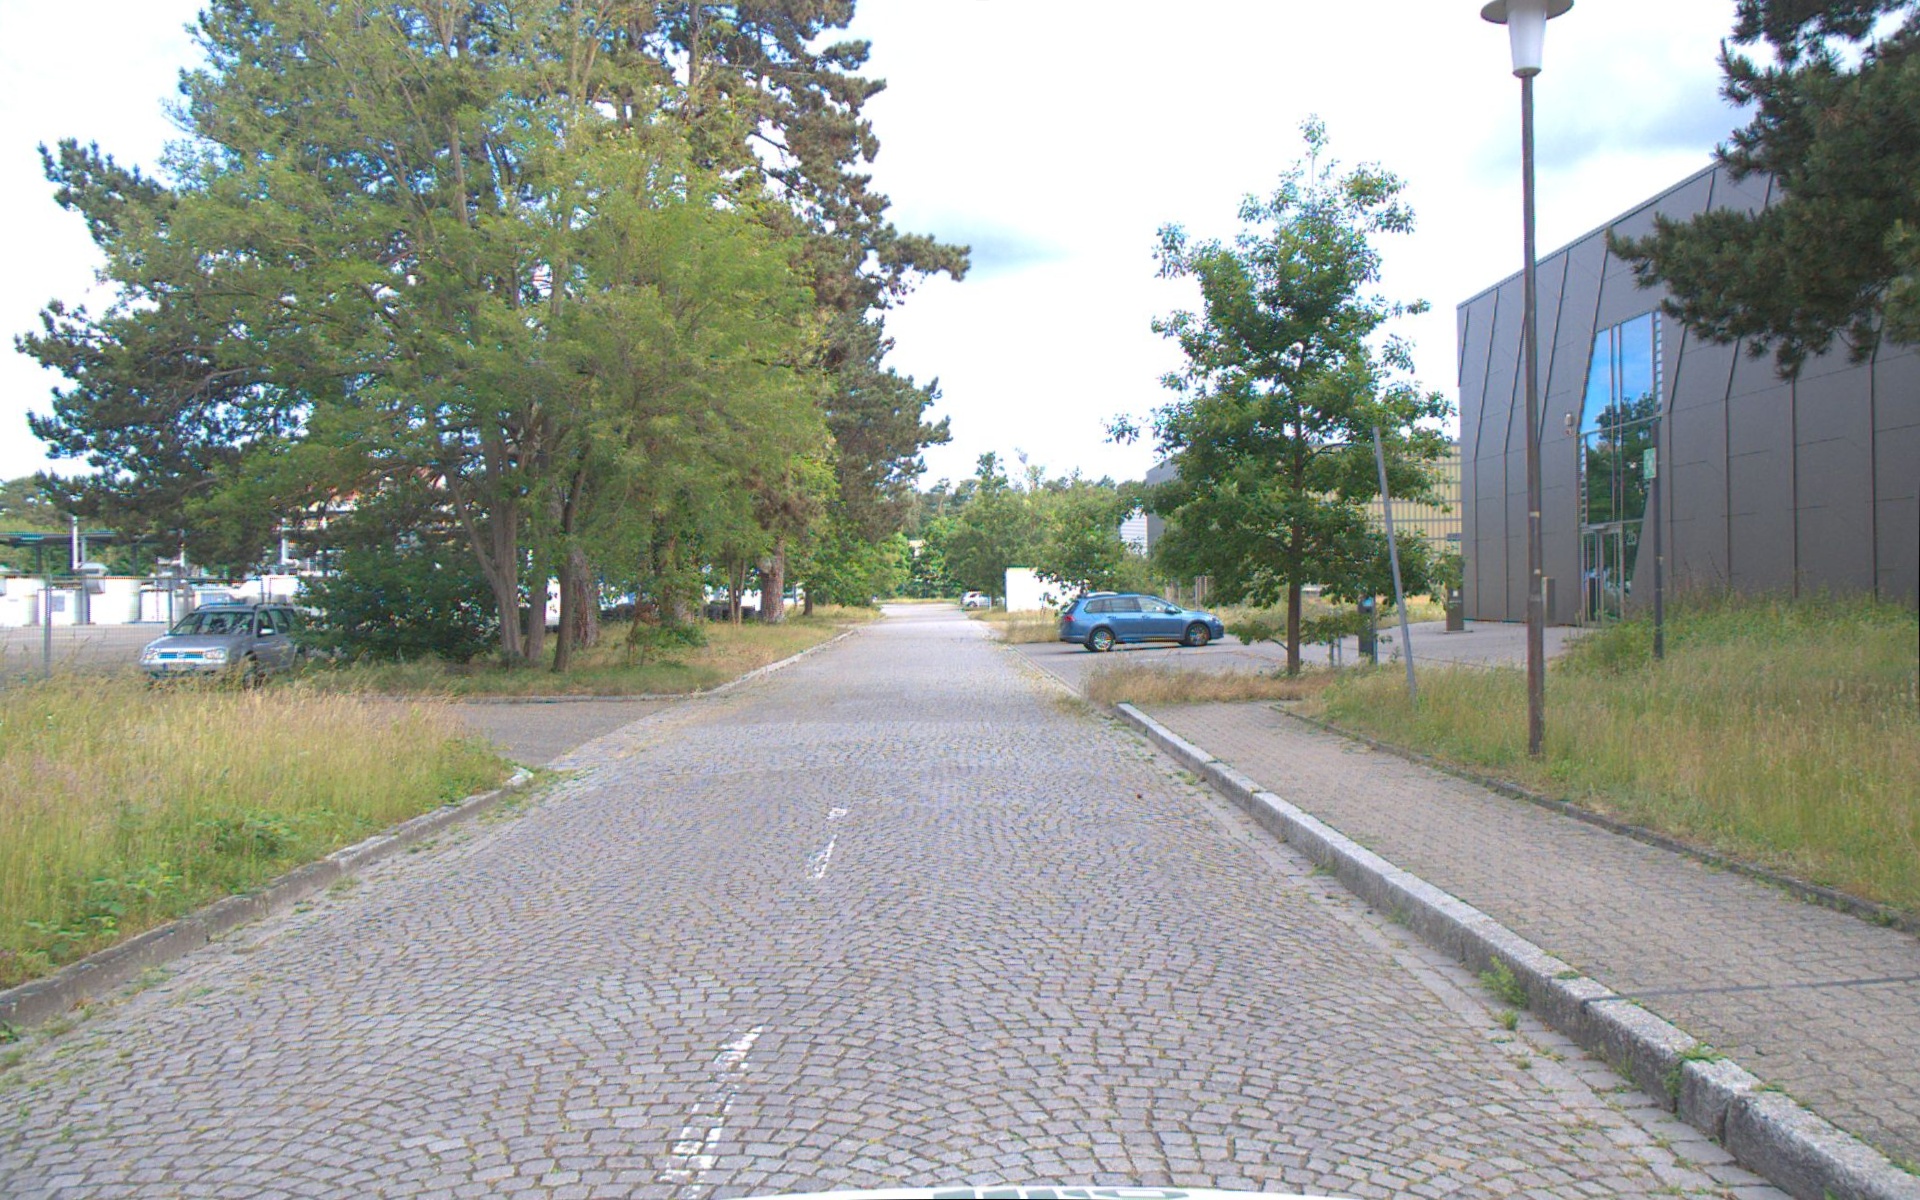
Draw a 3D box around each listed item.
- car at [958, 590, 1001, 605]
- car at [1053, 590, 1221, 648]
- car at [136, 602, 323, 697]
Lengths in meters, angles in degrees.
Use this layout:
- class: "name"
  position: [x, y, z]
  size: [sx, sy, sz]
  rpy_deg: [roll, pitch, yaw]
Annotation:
- class: "car"
  position: [1.894, -0.258, 161.892]
  size: [3.911, 1.422, 1.997]
  rpy_deg: [-1, 0, -7]
- class: "car"
  position: [4.751, 0.491, 44.872]
  size: [4.258, 1.447, 1.999]
  rpy_deg: [-1, 0, -3]
- class: "car"
  position: [-12.872, 0.828, 29.408]
  size: [1.580, 1.513, 3.999]
  rpy_deg: [-1, 0, -1]
